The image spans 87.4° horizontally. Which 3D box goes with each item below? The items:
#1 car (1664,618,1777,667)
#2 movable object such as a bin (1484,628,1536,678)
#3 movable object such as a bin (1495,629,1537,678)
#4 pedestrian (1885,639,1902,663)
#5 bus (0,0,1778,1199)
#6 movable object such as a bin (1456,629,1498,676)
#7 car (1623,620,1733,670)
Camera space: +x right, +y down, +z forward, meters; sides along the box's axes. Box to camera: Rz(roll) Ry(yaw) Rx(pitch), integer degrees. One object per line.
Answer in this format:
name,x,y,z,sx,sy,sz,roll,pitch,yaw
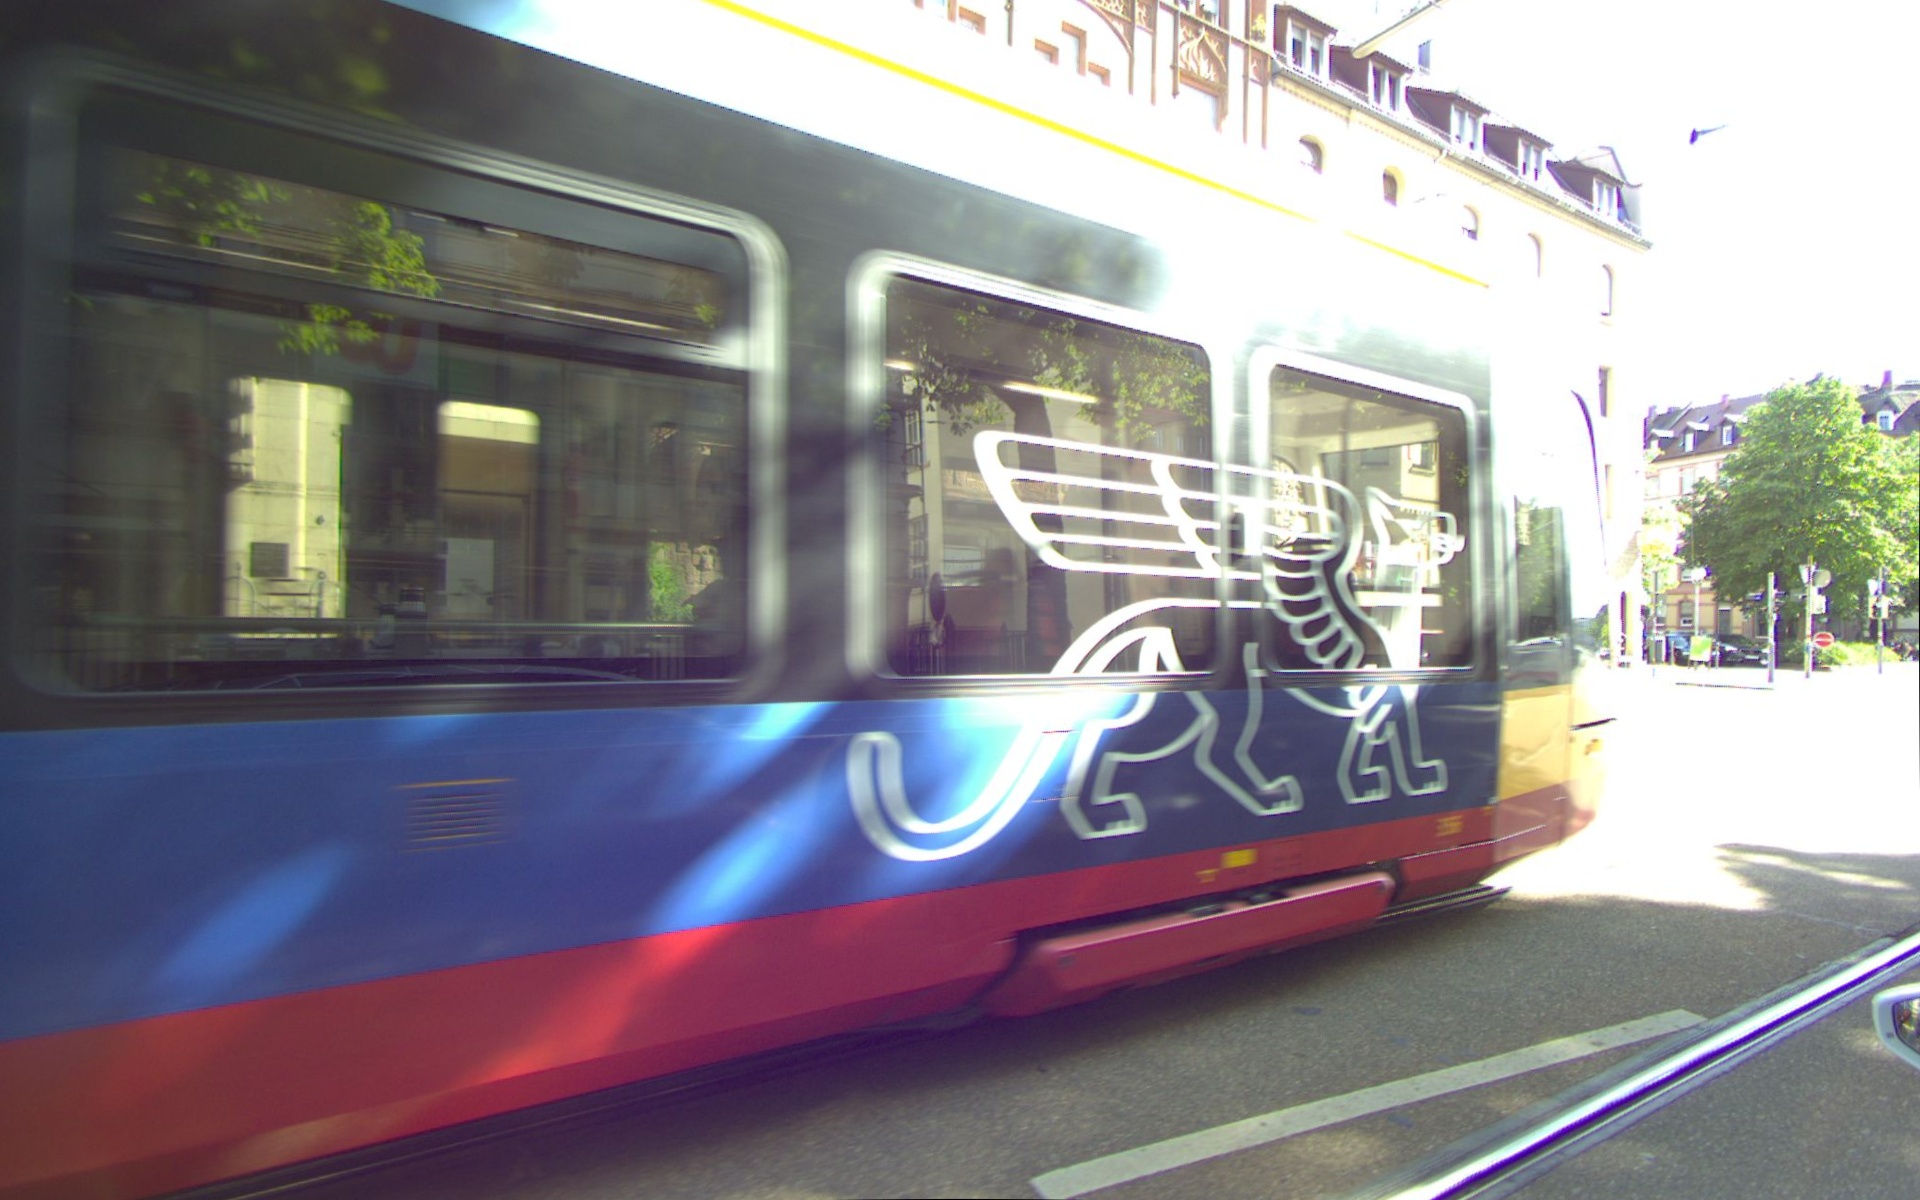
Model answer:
car,34.442,1.880,45.615,1.961,2.040,3.999,2,0,-2
movable object such as a bin,16.114,1.550,29.457,1.012,1.399,0.853,2,0,-20
movable object such as a bin,16.828,1.596,30.414,0.840,1.399,1.028,2,0,14
pedestrian,48.193,2.652,51.871,0.570,1.217,0.605,-1,-2,38
bus,-1.091,-0.326,3.652,12.070,3.827,2.832,2,0,-34
movable object such as a bin,15.241,1.536,29.639,0.647,1.343,0.853,2,0,-20
car,32.259,1.969,45.257,1.961,2.040,3.999,2,0,-2
